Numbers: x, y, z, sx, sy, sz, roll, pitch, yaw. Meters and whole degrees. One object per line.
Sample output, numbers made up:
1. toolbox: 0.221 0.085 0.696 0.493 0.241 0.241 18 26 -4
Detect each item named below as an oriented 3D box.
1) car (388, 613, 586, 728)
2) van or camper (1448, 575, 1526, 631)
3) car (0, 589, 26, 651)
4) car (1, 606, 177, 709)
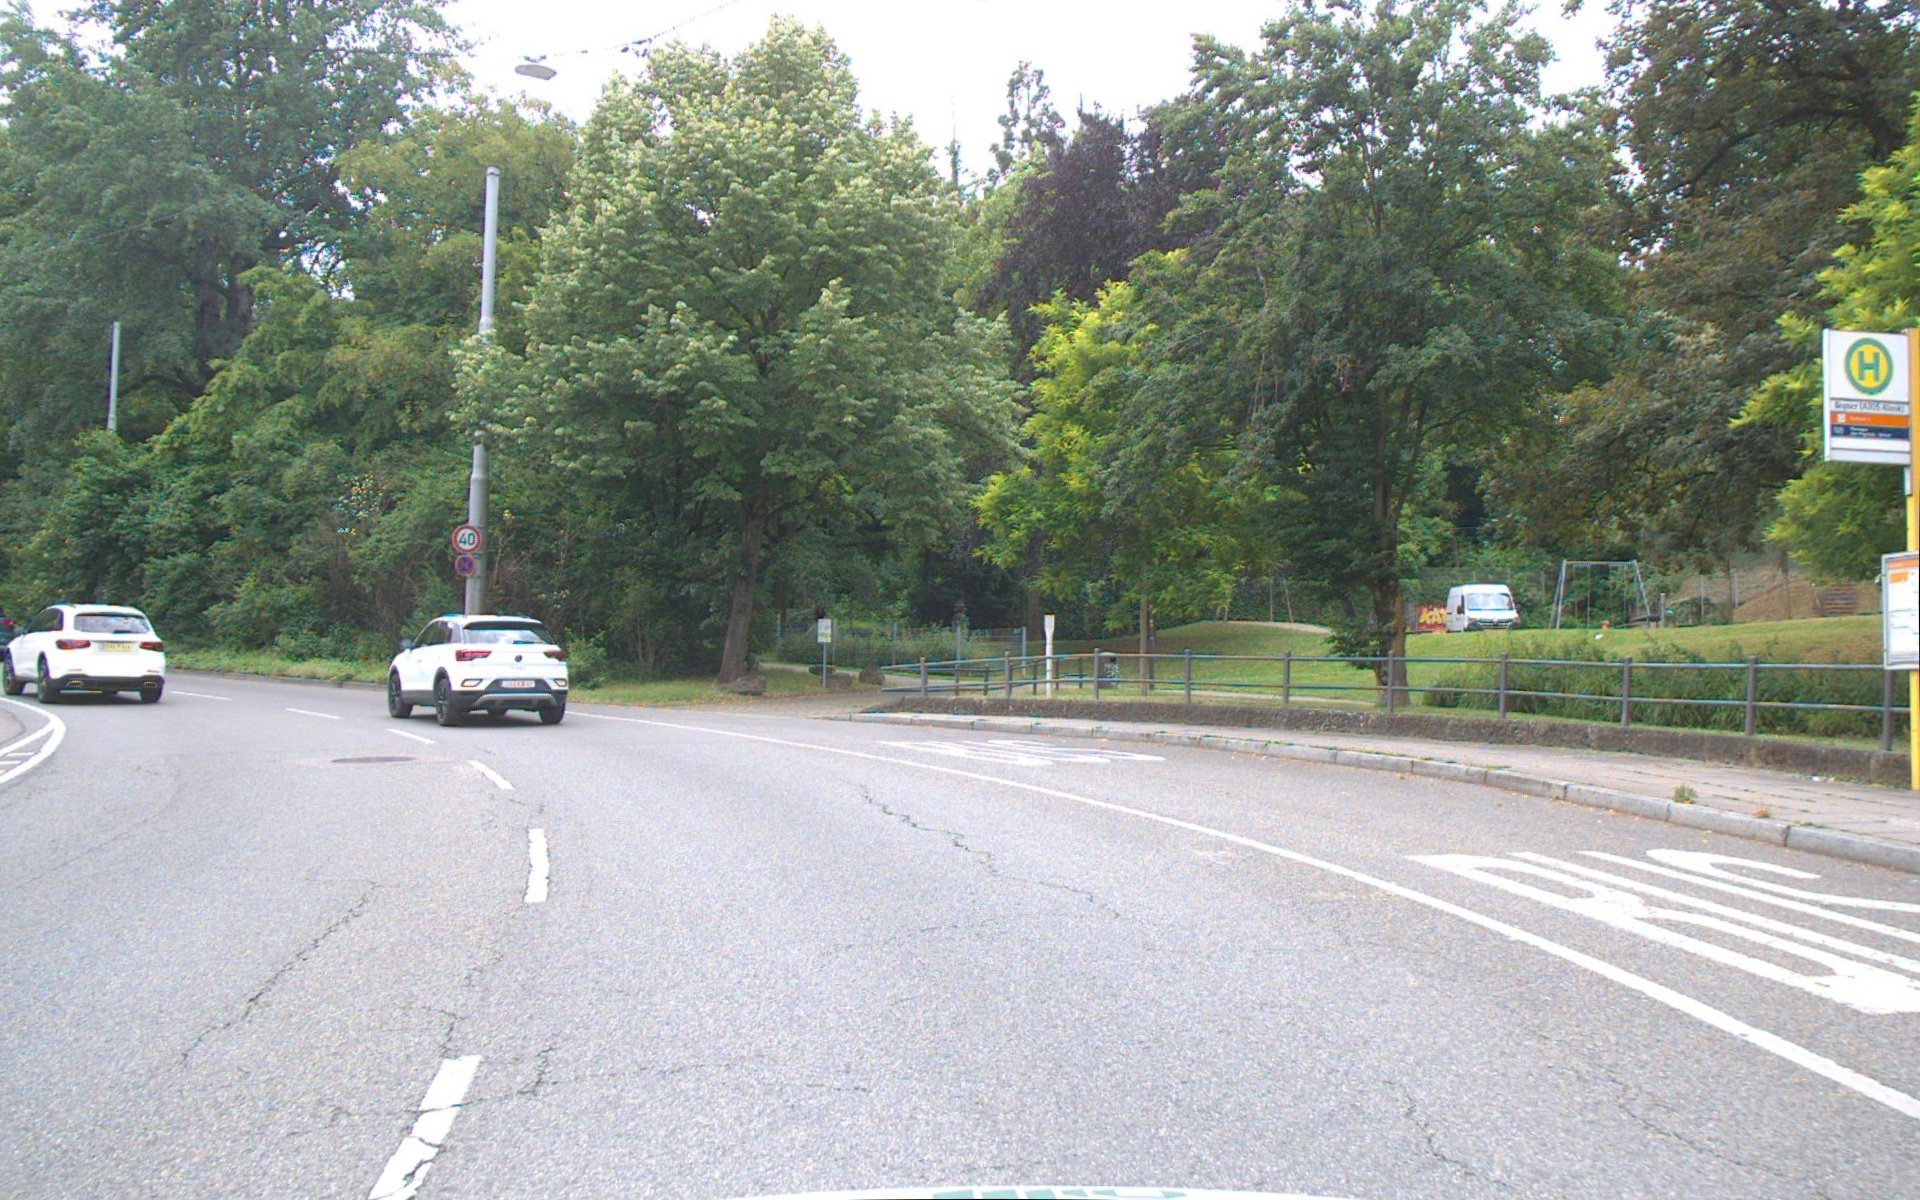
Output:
1. car: -7.153 1.008 24.786 1.848 1.583 3.850 0 -1 -33
2. van or camper: 20.403 0.108 64.235 2.254 2.049 5.446 0 0 11
3. car: -27.276 0.538 45.175 3.886 1.660 1.857 0 0 40
4. car: -15.339 0.952 29.034 1.866 1.681 4.278 1 -1 -40
